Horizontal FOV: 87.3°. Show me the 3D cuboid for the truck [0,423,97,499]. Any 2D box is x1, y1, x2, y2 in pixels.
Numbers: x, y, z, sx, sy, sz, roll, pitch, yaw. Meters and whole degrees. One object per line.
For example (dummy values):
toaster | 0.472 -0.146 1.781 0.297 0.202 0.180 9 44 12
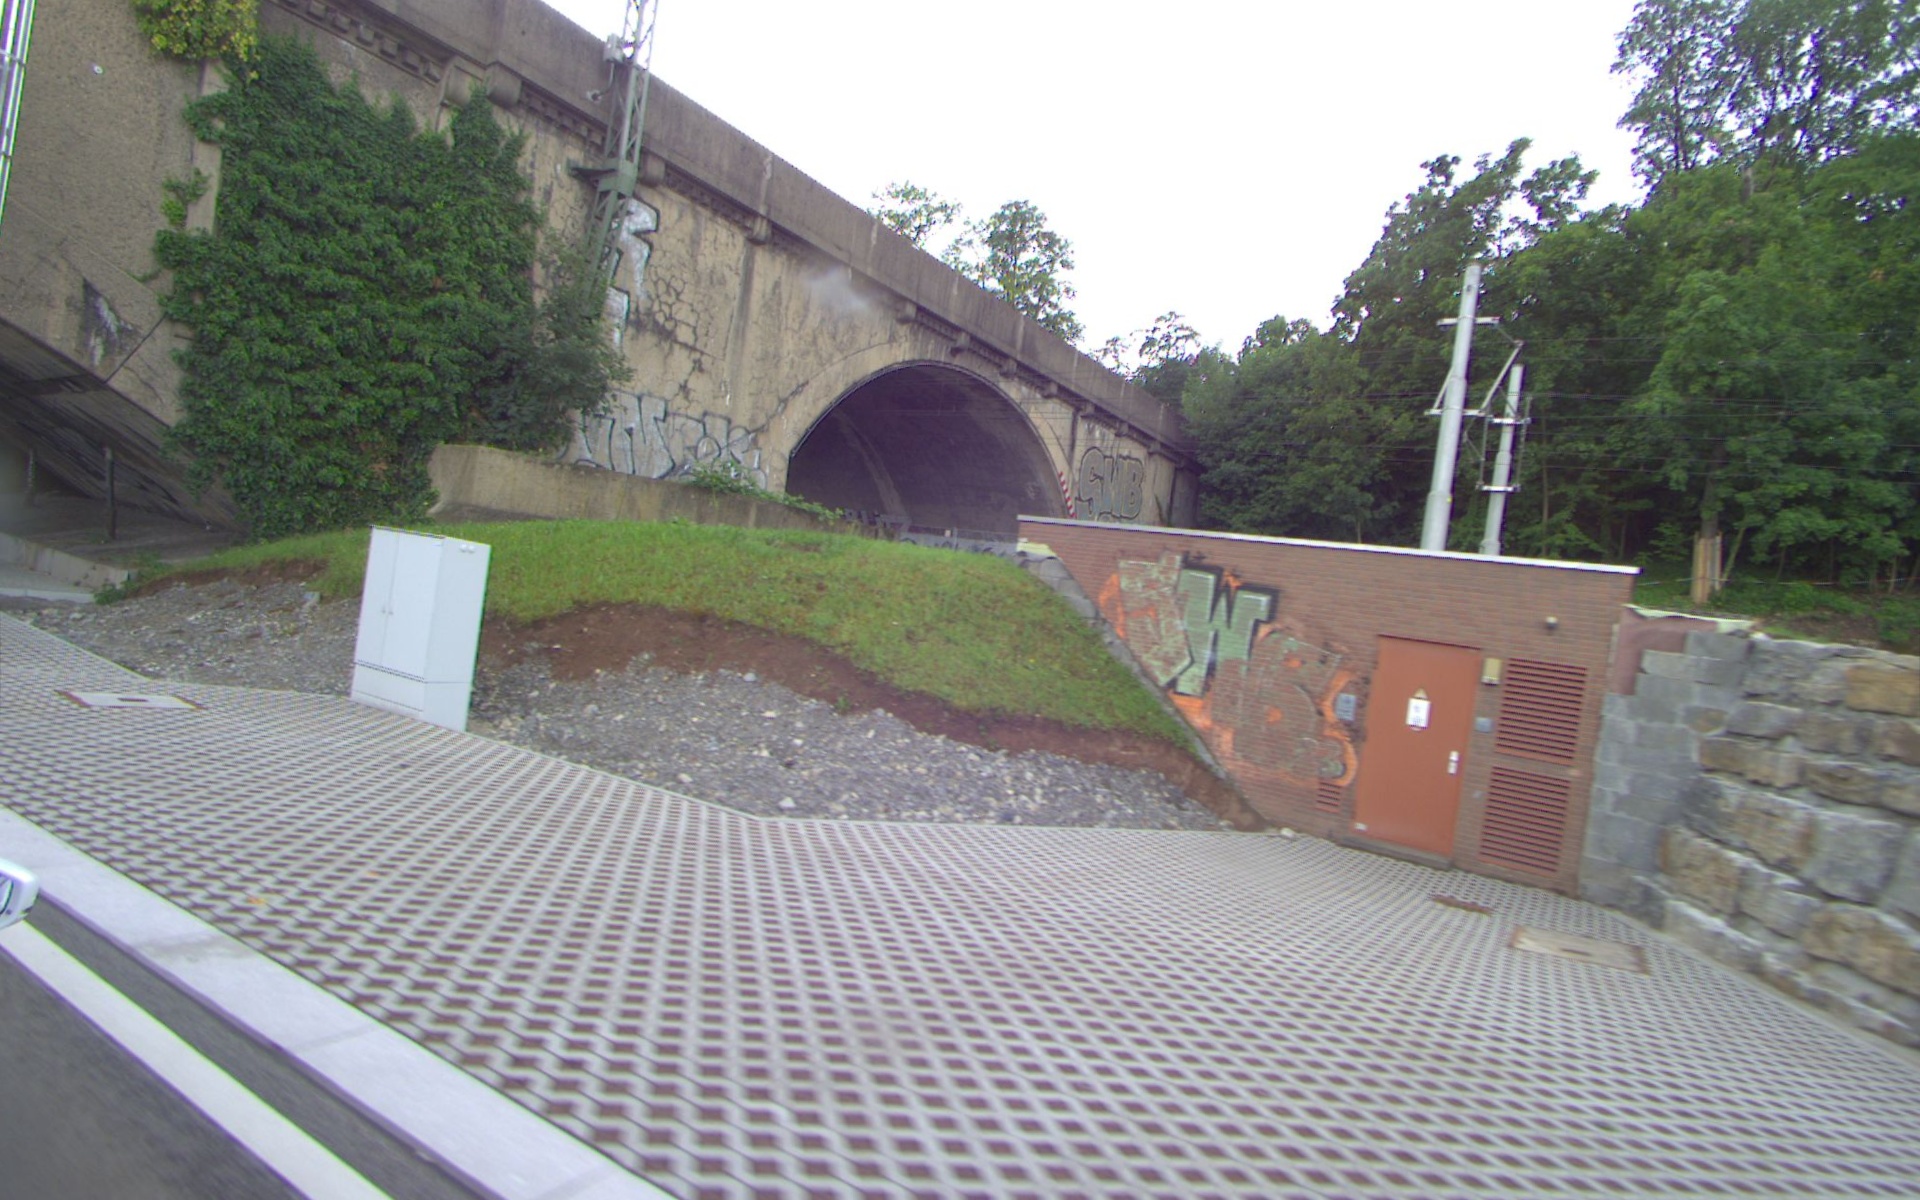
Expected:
truck | -61.414 -9.158 65.851 3.293 3.851 16.475 11 -2 -27
